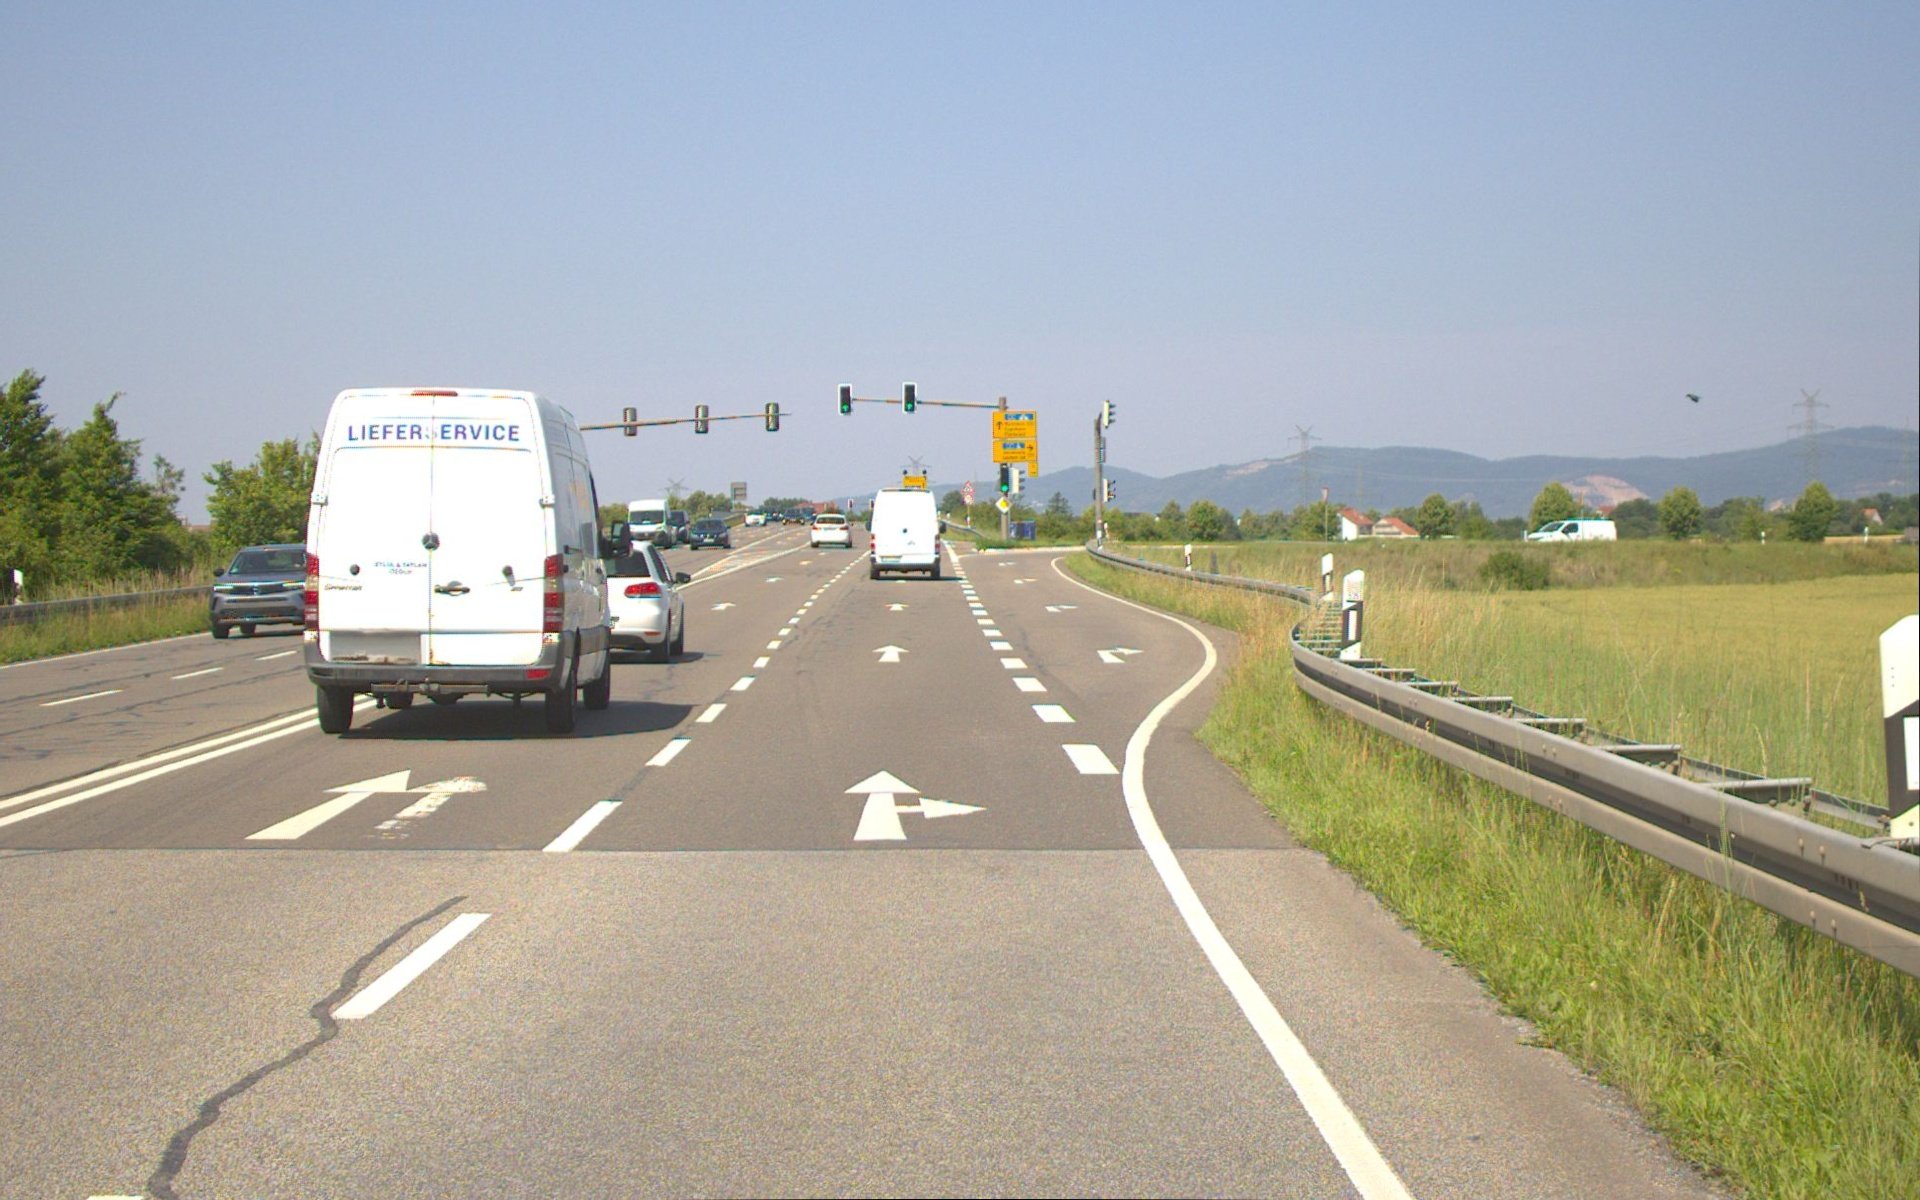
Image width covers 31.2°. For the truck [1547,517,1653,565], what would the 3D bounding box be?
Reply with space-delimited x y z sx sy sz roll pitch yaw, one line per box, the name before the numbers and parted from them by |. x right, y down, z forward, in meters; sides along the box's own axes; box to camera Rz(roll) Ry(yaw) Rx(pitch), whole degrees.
truck | 32.228 -2.940 173.091 4.842 2.312 2.001 1 0 -15

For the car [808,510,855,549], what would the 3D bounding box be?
car | -5.903 -3.211 158.076 1.993 1.697 4.275 1 0 0

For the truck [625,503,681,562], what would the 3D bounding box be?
truck | -15.626 -3.412 175.151 2.297 2.947 5.283 0 0 0

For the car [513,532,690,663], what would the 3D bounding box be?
car | -4.351 -0.067 42.219 1.799 1.503 4.196 0 1 -1

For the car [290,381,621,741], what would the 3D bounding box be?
car | -3.994 -0.299 28.162 2.039 2.611 5.741 1 0 -2

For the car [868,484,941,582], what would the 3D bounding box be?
car | -1.581 -1.902 98.119 1.993 2.686 4.970 0 1 -1

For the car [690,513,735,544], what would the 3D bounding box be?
car | -11.972 -3.433 166.372 1.857 1.418 4.000 0 0 0

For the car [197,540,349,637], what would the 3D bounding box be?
car | -11.670 -0.226 58.620 1.819 1.503 4.127 -2 1 -2
